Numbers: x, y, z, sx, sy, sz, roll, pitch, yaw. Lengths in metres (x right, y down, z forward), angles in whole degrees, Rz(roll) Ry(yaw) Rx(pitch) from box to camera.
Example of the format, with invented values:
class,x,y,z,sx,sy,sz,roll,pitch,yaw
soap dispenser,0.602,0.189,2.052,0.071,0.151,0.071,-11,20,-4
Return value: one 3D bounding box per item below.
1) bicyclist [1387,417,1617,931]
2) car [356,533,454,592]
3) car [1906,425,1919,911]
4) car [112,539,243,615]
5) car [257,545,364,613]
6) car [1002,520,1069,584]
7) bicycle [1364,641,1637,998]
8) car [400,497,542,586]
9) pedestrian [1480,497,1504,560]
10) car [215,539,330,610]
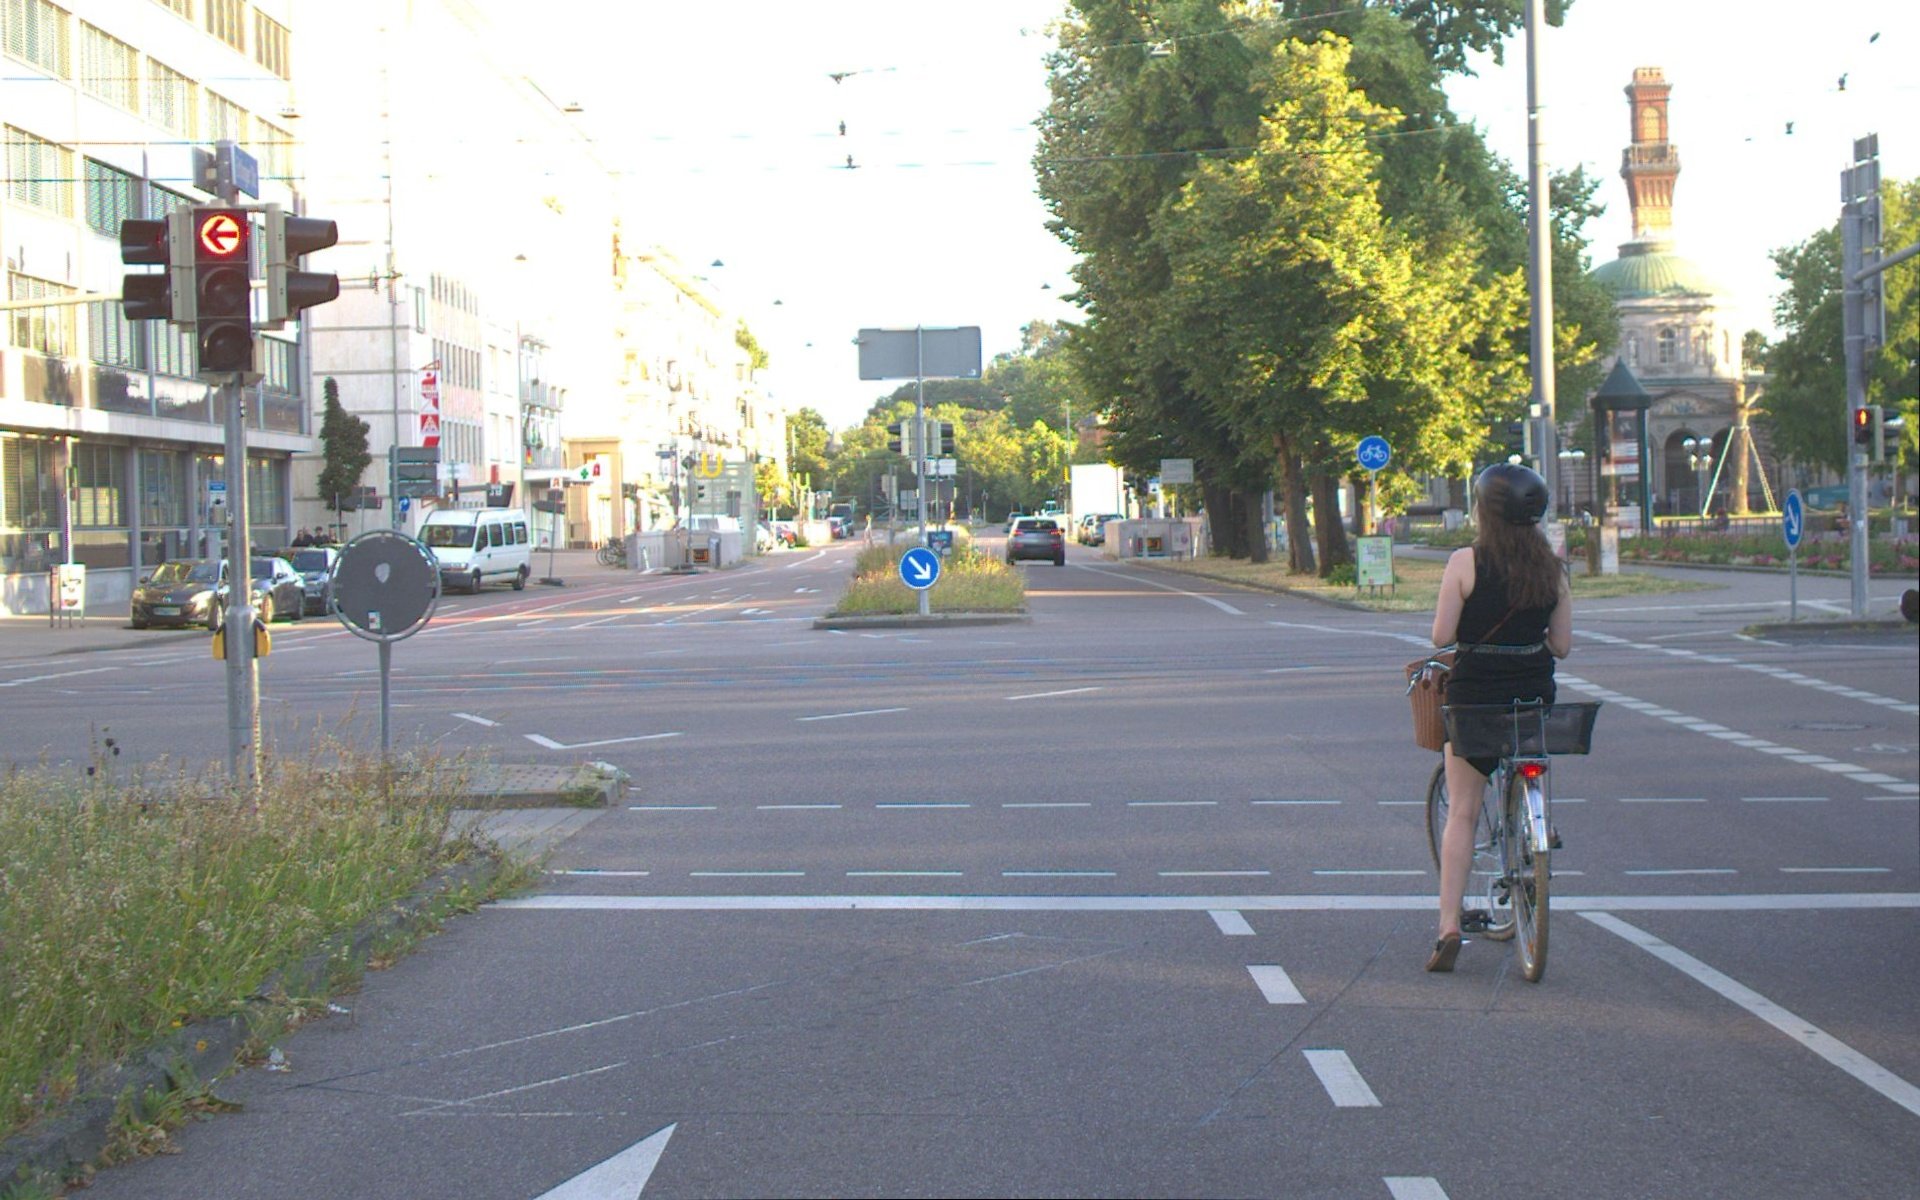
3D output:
class,x,y,z,sx,sy,sz,roll,pitch,yaw
bicyclist,1.838,0.238,11.739,0.628,1.687,0.748,-1,1,0
car,-15.220,-1.002,94.400,1.796,1.470,3.999,-1,-1,4
car,4.183,0.289,11.452,1.459,1.774,2.564,-1,2,3
car,-16.204,-0.491,71.379,1.796,1.470,4.000,-1,1,0
car,-15.409,-0.473,81.739,1.796,1.470,4.000,-1,-1,0
car,2.455,-1.604,112.709,1.993,2.007,4.000,-1,1,-1
bicycle,1.857,0.718,12.064,0.637,1.065,2.069,0,1,0
car,-14.314,-1.677,100.974,2.178,2.377,5.986,-2,-1,12
pedestrian,14.171,-1.900,91.532,0.508,1.663,0.531,-1,1,-1
car,-15.485,-0.547,77.636,1.796,1.470,4.000,-1,-1,0
